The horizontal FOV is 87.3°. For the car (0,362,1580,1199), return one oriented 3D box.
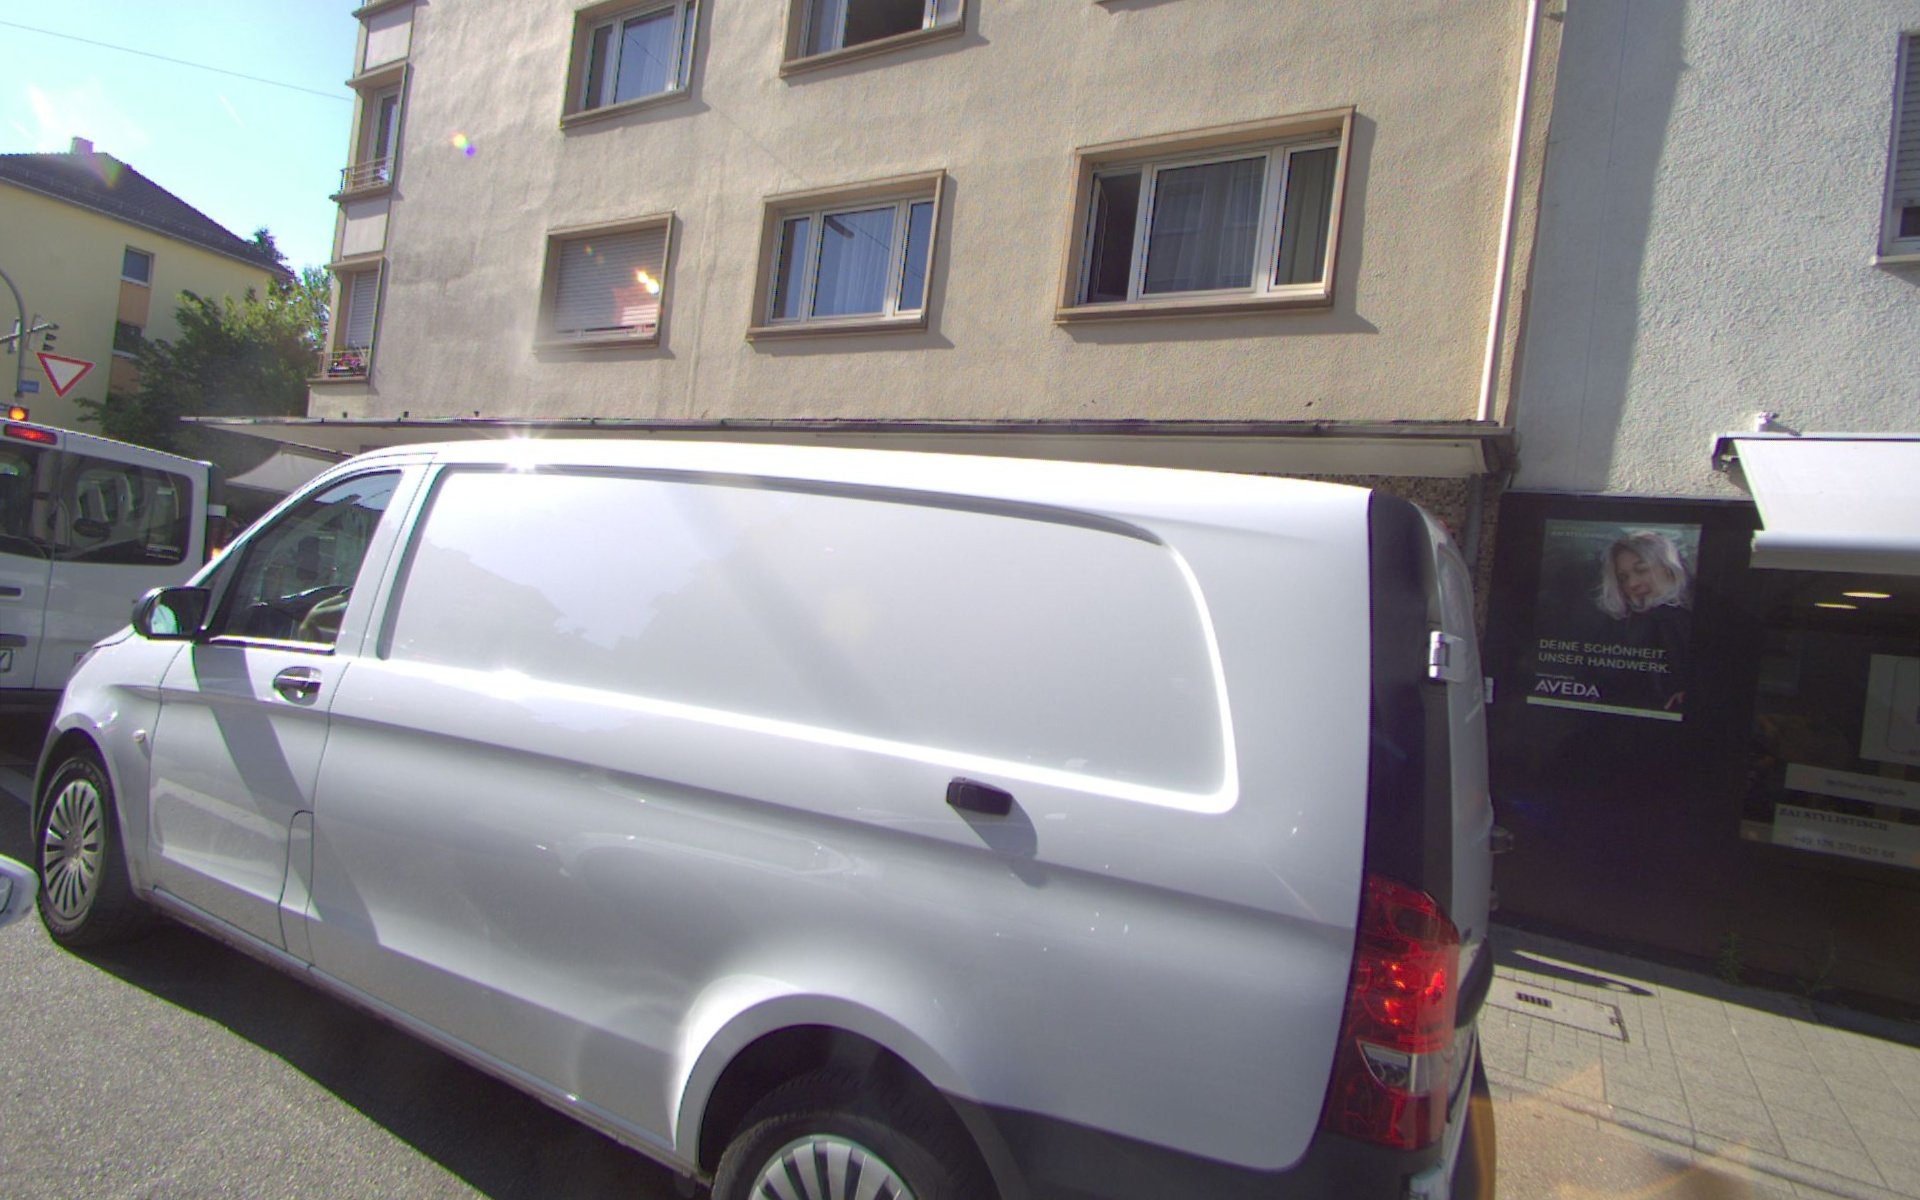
[{"bbox_3d":[-0.995,0.456,3.325,4.911,1.891,1.840,7,-1,29],"label":"car"}]

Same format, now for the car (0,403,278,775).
[{"bbox_3d":[-7.113,-0.257,6.915,4.813,2.001,1.998,7,-2,31],"label":"car"}]
